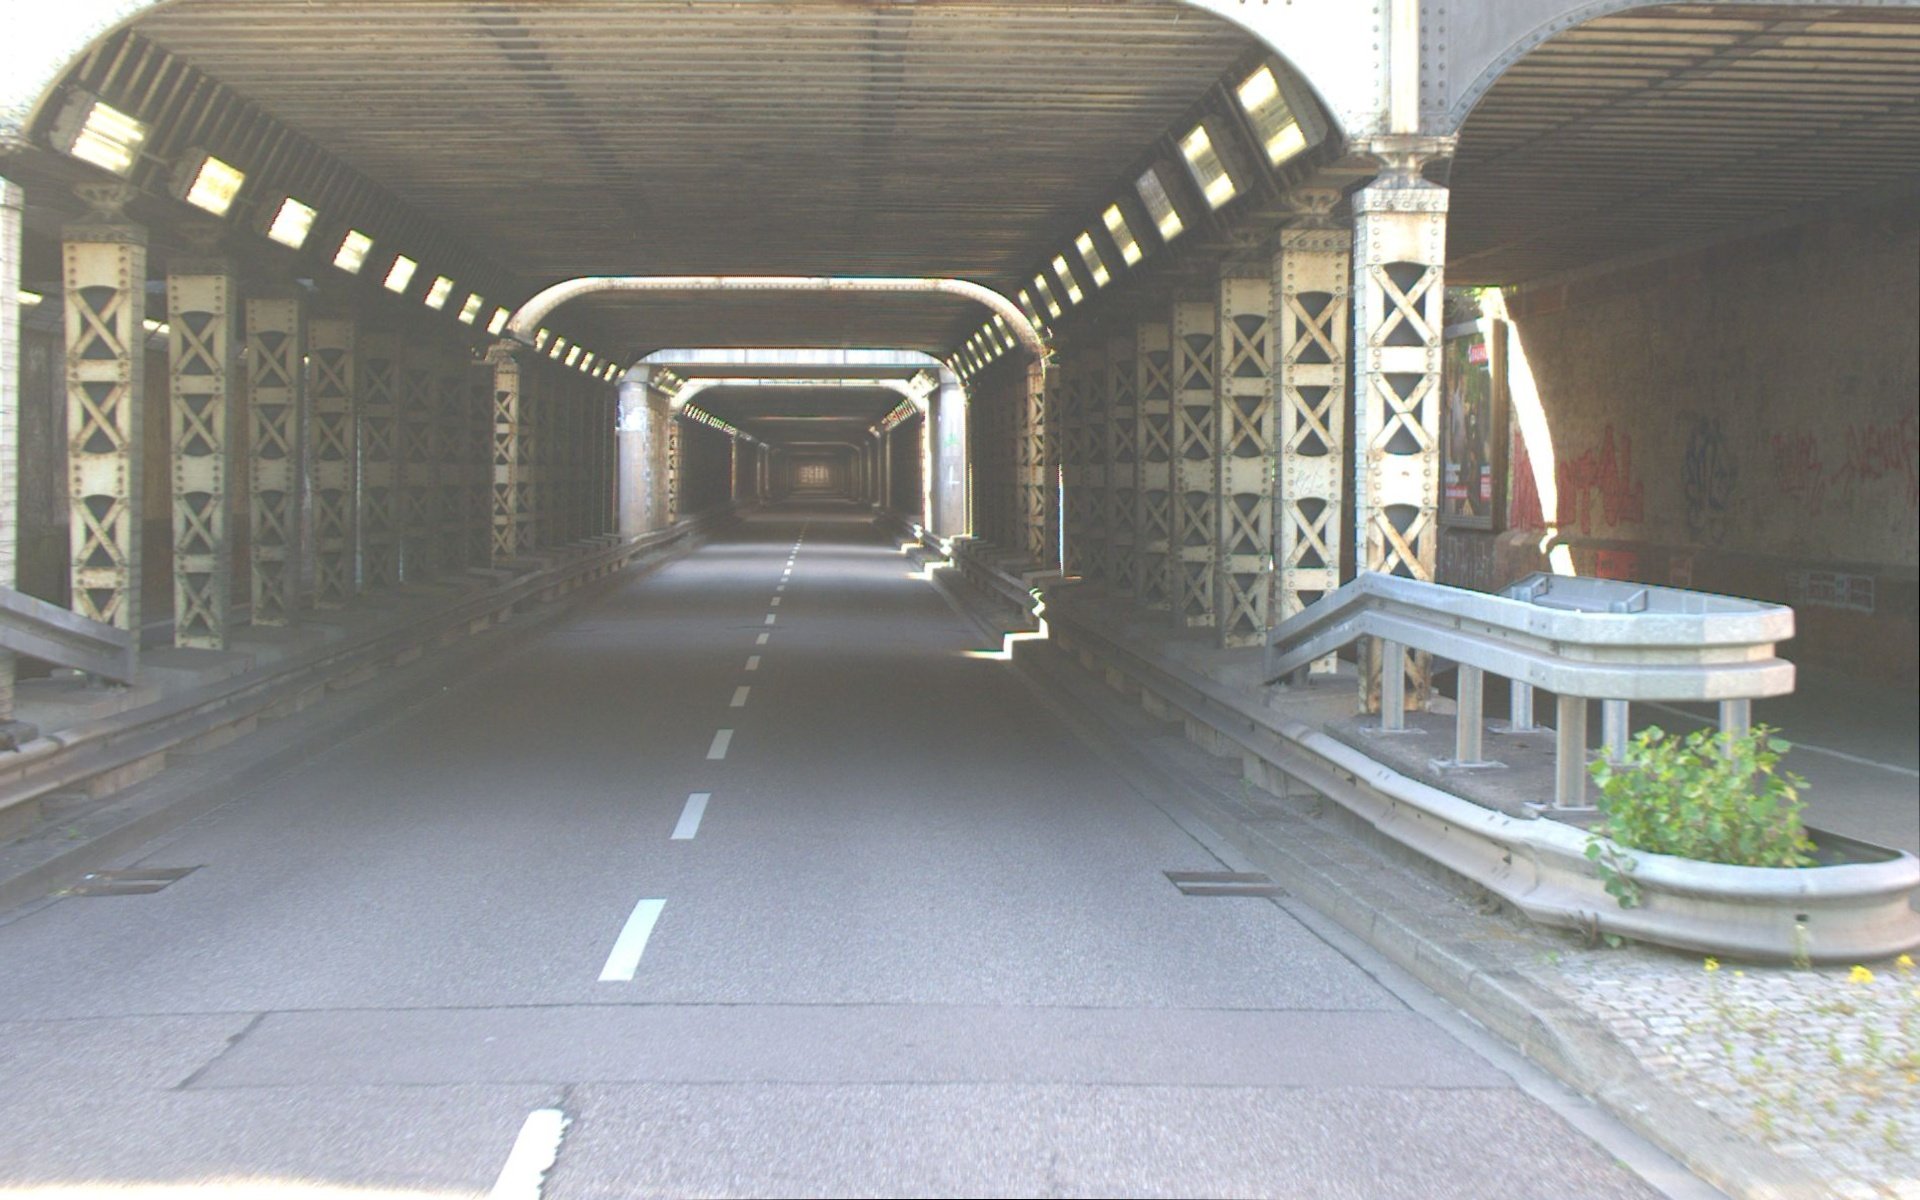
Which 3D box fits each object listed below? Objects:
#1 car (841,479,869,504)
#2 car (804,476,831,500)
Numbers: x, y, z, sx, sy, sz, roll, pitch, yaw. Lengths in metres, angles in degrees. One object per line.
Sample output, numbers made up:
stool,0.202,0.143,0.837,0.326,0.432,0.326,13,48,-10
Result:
car,-7.404,-7.663,242.352,1.993,1.777,4.001,0,2,-2
car,-10.686,-8.374,257.692,1.993,1.777,4.001,0,2,-2
